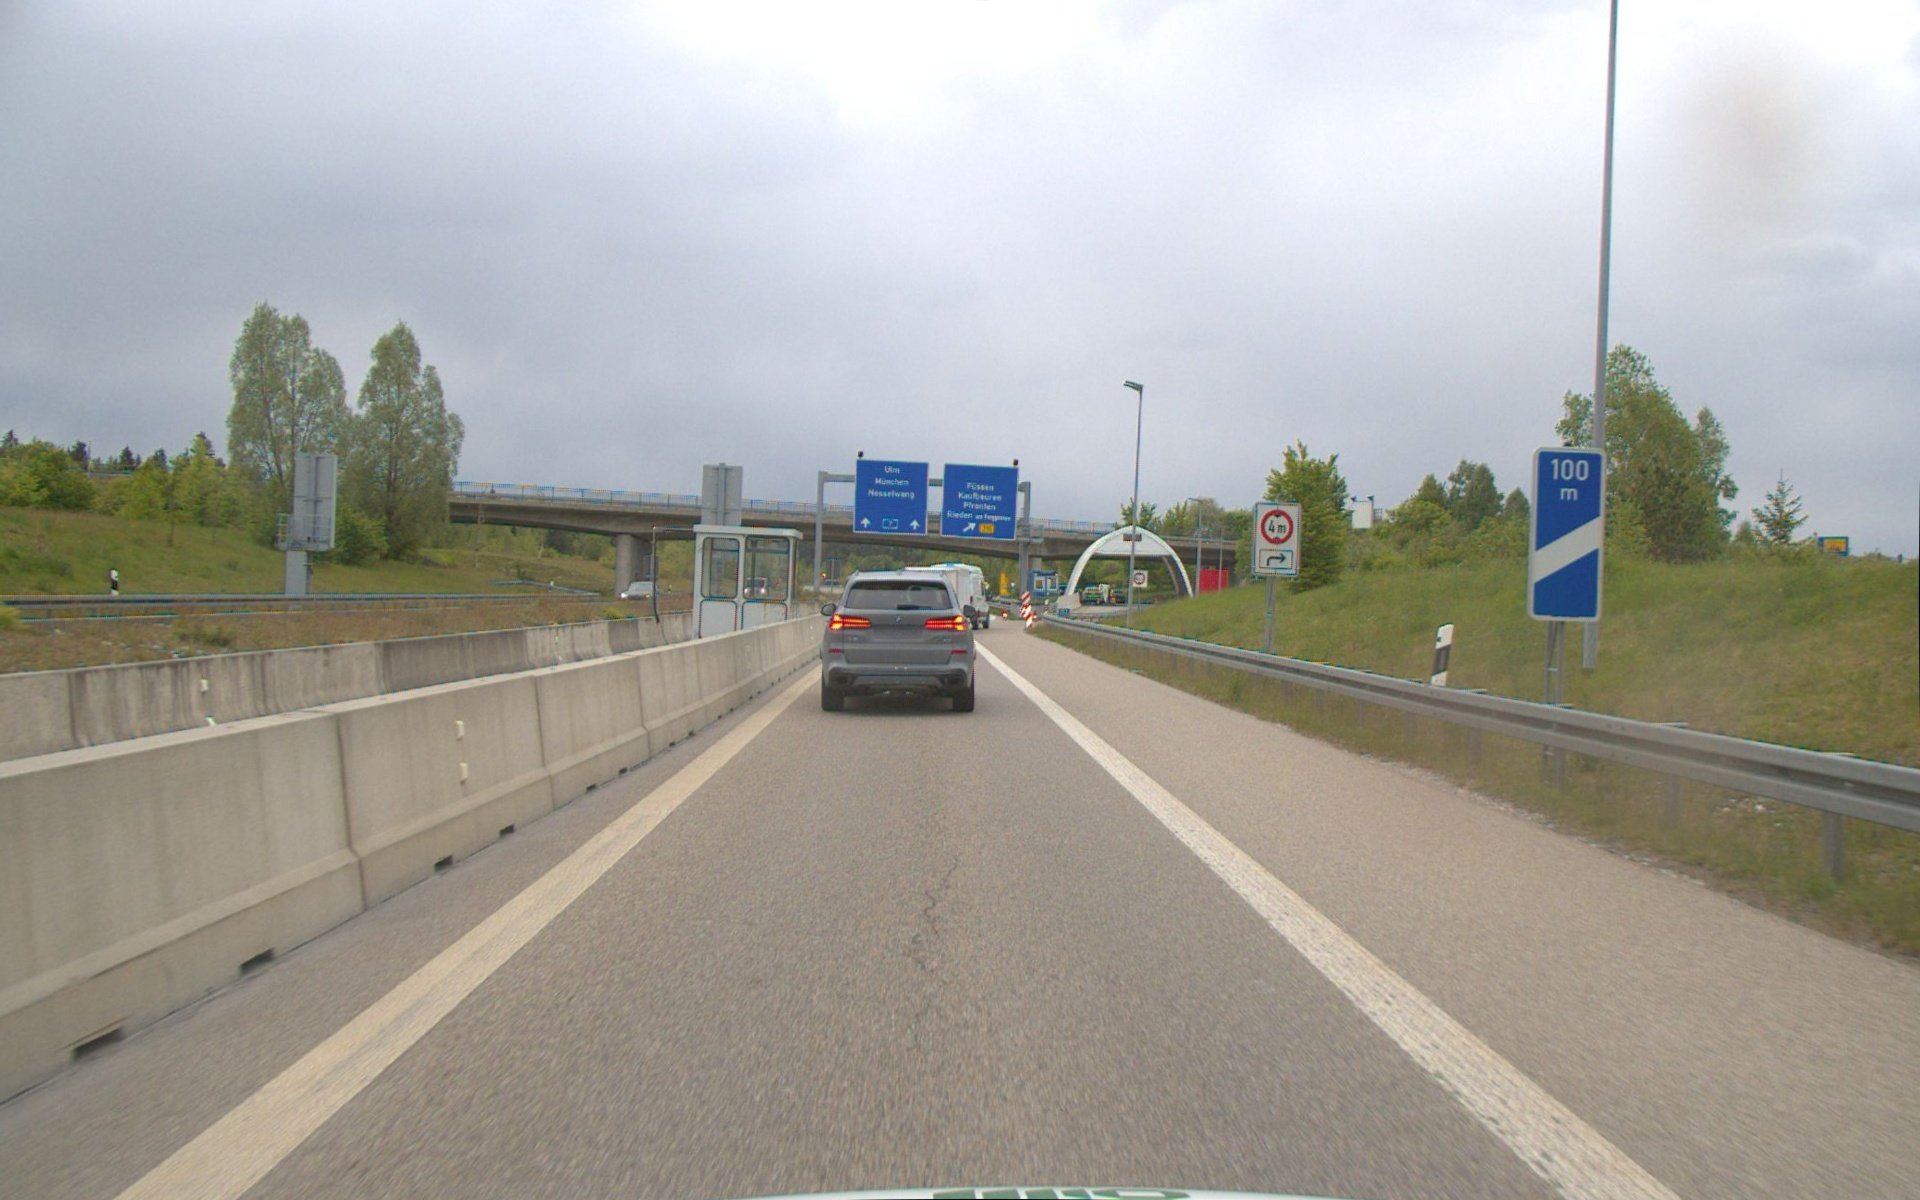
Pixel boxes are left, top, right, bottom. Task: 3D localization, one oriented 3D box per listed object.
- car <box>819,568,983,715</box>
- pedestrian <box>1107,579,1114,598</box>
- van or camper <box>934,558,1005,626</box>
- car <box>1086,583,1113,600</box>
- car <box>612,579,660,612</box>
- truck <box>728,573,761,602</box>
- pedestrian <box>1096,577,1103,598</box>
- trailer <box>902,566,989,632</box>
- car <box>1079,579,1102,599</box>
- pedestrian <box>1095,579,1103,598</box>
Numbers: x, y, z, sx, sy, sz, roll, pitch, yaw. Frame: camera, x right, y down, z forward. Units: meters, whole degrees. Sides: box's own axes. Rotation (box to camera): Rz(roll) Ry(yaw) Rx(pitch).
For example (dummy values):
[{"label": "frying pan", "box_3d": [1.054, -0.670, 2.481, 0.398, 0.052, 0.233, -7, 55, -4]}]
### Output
[{"label": "car", "box_3d": [-0.754, 0.488, 21.914, 1.953, 1.749, 3.999, 1, 0, -1]}, {"label": "pedestrian", "box_3d": [14.091, -1.107, 155.132, 0.634, 1.806, 0.606, 0, 0, 1]}, {"label": "van or camper", "box_3d": [0.456, -0.318, 72.222, 2.111, 2.812, 5.876, 1, 0, 10]}, {"label": "car", "box_3d": [16.302, -0.998, 193.528, 1.961, 2.049, 3.982, 0, 0, -16]}, {"label": "car", "box_3d": [-16.632, -0.257, 85.015, 1.668, 1.602, 4.176, 2, 0, -1]}, {"label": "truck", "box_3d": [-19.734, -1.173, 151.635, 2.309, 2.522, 5.986, 1, 0, -2]}, {"label": "pedestrian", "box_3d": [13.086, -1.198, 155.129, 0.705, 1.979, 0.690, 0, 0, 3]}, {"label": "trailer", "box_3d": [-0.504, -0.037, 65.917, 2.230, 2.473, 6.823, 1, 0, 10]}, {"label": "car", "box_3d": [12.005, -1.015, 151.869, 1.952, 1.803, 3.767, 0, 0, 2]}, {"label": "pedestrian", "box_3d": [12.986, -1.080, 154.162, 0.705, 1.806, 0.690, 0, 0, 3]}]
